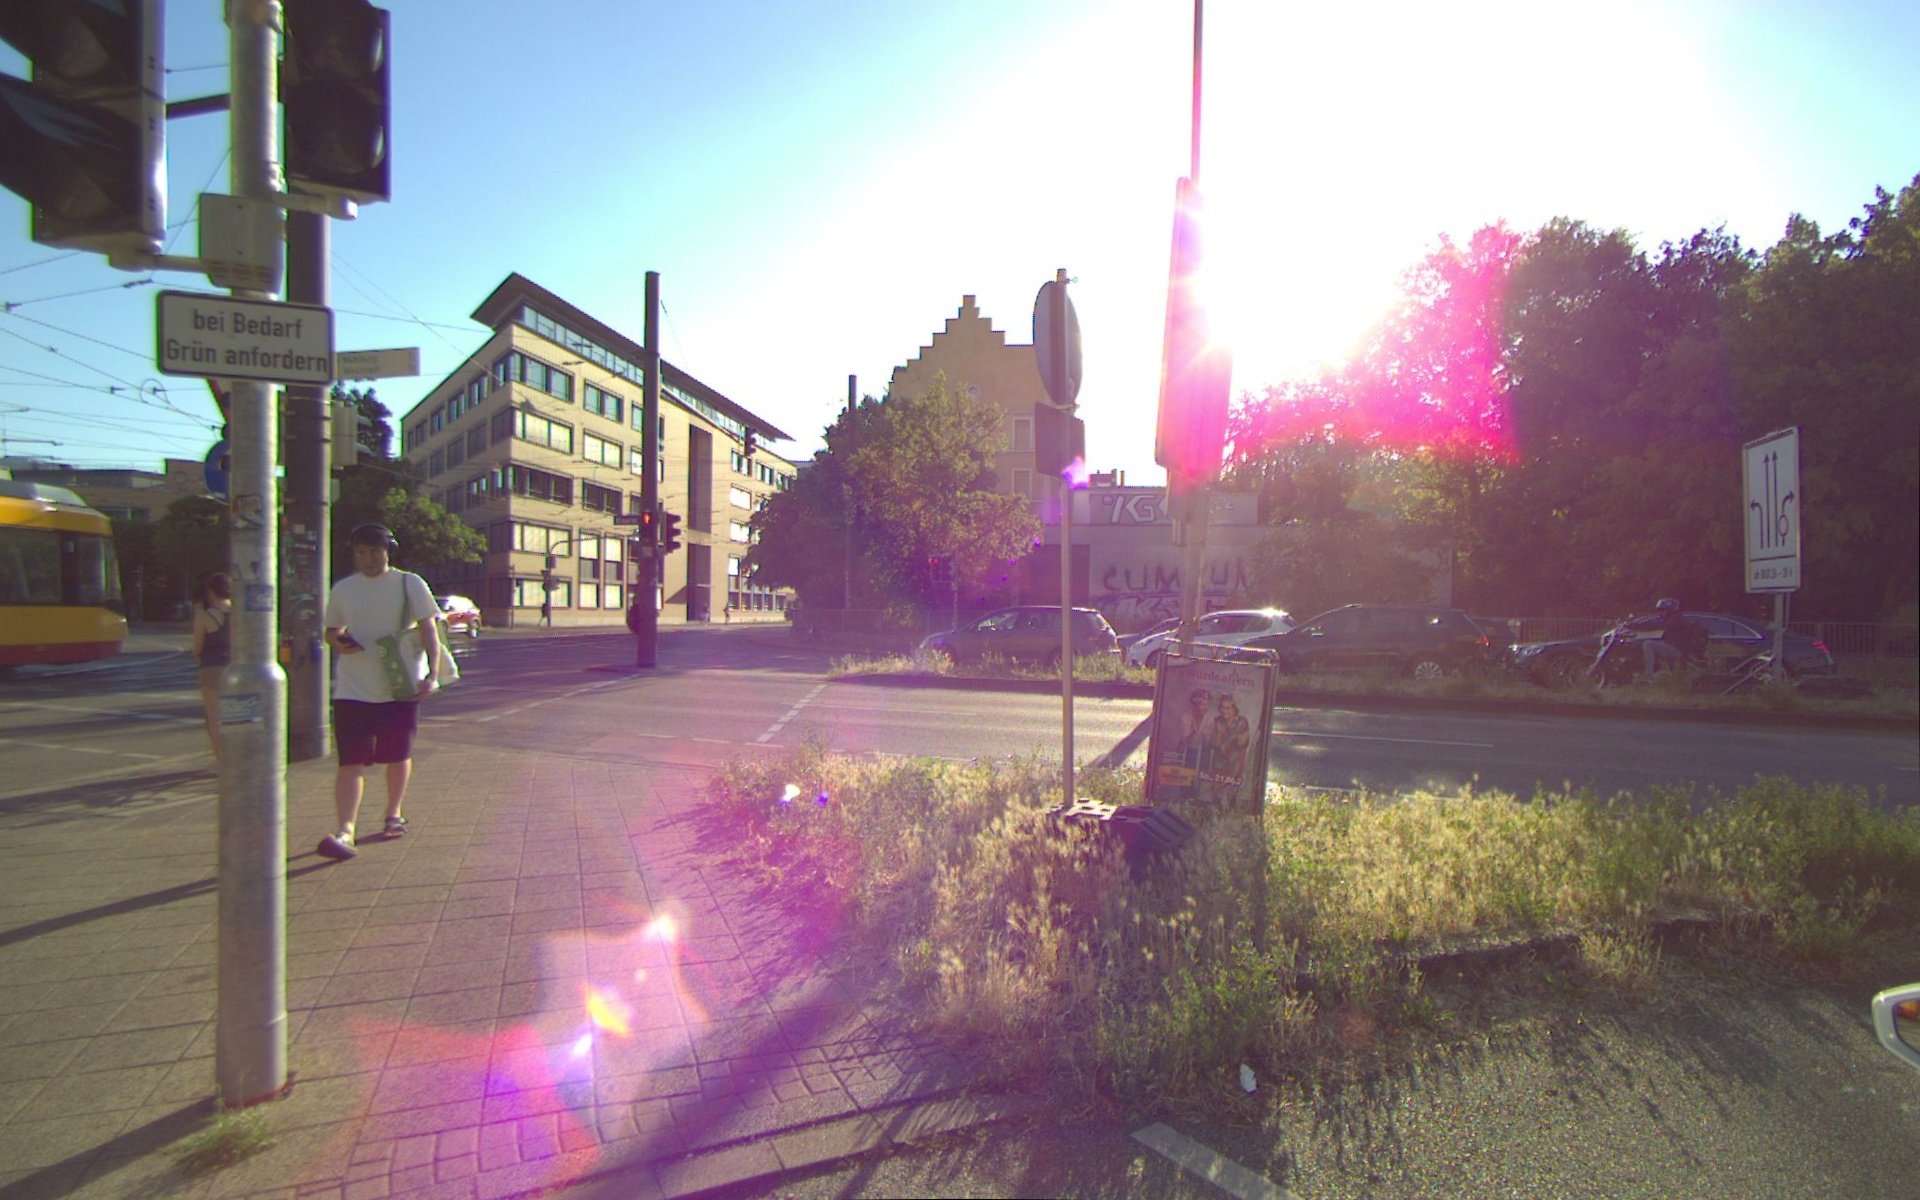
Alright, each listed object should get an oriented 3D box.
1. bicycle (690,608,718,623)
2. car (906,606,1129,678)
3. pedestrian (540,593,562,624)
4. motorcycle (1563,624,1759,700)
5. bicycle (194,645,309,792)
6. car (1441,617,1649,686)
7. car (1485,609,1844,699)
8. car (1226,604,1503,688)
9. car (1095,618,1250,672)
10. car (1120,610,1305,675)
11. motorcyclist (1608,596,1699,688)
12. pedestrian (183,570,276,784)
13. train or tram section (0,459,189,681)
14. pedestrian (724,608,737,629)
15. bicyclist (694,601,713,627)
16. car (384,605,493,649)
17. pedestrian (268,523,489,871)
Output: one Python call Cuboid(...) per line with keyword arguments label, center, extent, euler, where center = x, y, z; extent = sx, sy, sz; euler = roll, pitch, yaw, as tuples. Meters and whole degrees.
Cuboid(label="bicycle", center=(-20.264, 1.243, 79.525), extent=(0.992, 1.150, 2.829), euler=(1, -1, 12))
Cuboid(label="car", center=(1.161, 0.804, 20.305), extent=(4.168, 1.313, 1.723), euler=(0, -1, 24))
Cuboid(label="pedestrian", center=(-26.518, 0.551, 65.114), extent=(0.912, 2.040, 0.989), euler=(1, 0, 8))
Cuboid(label="motorcycle", center=(11.094, 0.953, 16.011), extent=(2.422, 1.122, 0.861), euler=(0, -1, 23))
Cuboid(label="bicycle", center=(-5.789, 0.916, 8.179), extent=(1.648, 1.043, 0.397), euler=(0, -1, 42))
Cuboid(label="car", center=(13.716, 1.166, 23.805), extent=(3.920, 1.483, 1.860), euler=(0, 0, 16))
Cuboid(label="car", center=(13.062, 0.960, 19.052), extent=(5.186, 1.515, 2.001), euler=(0, -1, 17))
Cuboid(label="car", center=(6.992, 0.757, 17.618), extent=(4.292, 1.313, 1.724), euler=(0, -1, 23))
Cuboid(label="car", center=(5.673, 1.154, 26.779), extent=(3.818, 1.313, 1.724), euler=(0, -1, 21))
Cuboid(label="car", center=(5.637, 0.903, 22.348), extent=(3.818, 1.337, 1.724), euler=(0, -1, 21))
Cuboid(label="motorcyclist", center=(11.039, 0.647, 16.029), extent=(1.041, 1.416, 0.854), euler=(0, -1, 23))
Cuboid(label="pedestrian", center=(-5.900, 0.602, 8.114), extent=(0.518, 1.653, 0.487), euler=(0, -1, 41))
Cuboid(label="train or tram section", center=(-16.715, -0.522, 14.464), extent=(2.814, 3.554, 11.295), euler=(1, -1, -2))
Cuboid(label="pedestrian", center=(-20.111, 1.633, 88.021), extent=(0.814, 1.844, 0.984), euler=(1, -1, 8))
Cuboid(label="bicyclist", center=(-20.275, 1.104, 79.502), extent=(0.974, 2.040, 1.252), euler=(1, 0, 11))
Cuboid(label="car", center=(-20.639, 1.058, 39.997), extent=(1.785, 1.636, 4.467), euler=(0, -1, 4))
Cuboid(label="pedestrian", center=(-3.274, 0.514, 5.758), extent=(0.897, 1.812, 0.824), euler=(1, -1, -17))
